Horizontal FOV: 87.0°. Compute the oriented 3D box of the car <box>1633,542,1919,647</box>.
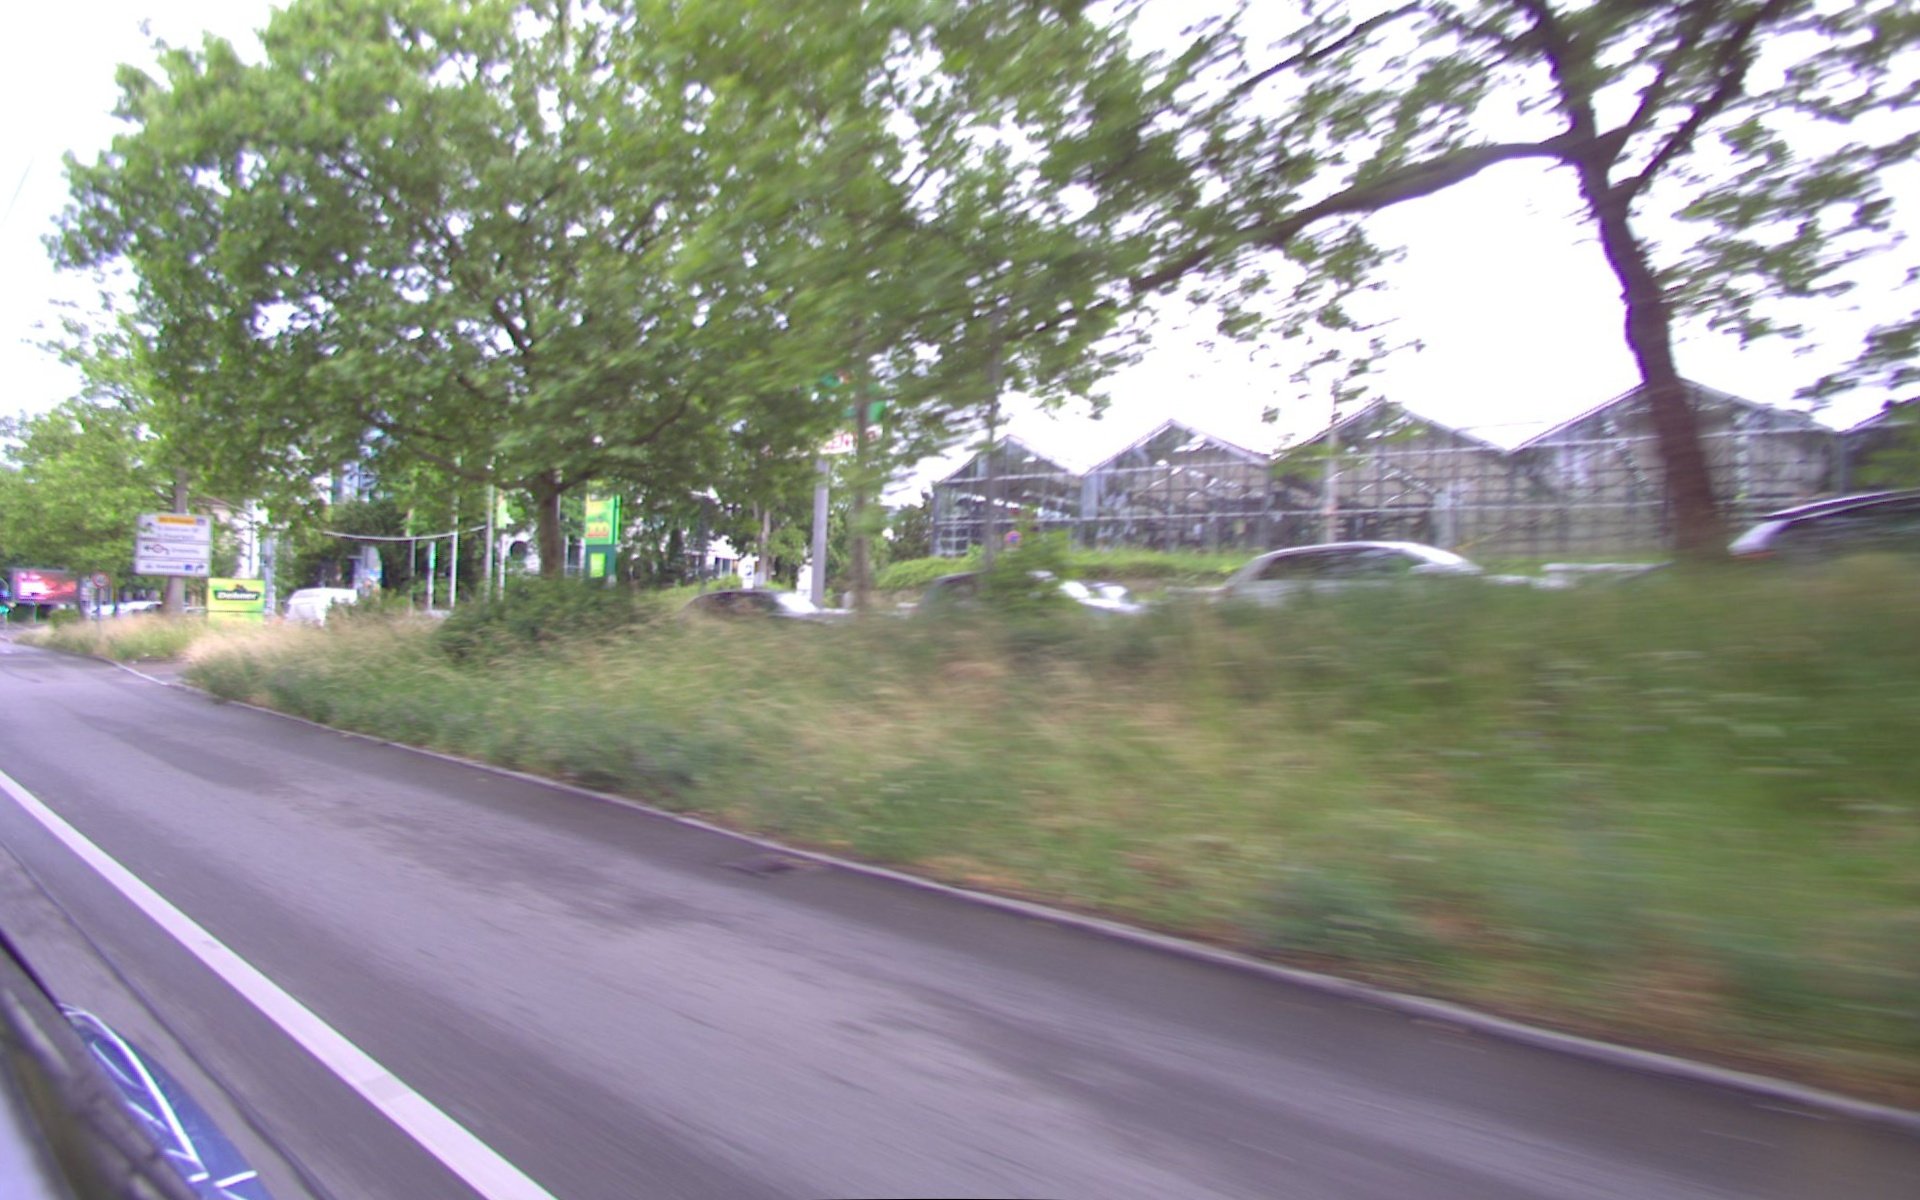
[{"bbox_3d":[11.425,-0.076,14.264,3.085,1.319,1.346,1,-1,41],"label":"car"}]

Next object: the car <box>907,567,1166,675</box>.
[{"bbox_3d":[1.077,0.268,14.962,3.441,1.415,1.686,1,-1,39],"label":"car"}]

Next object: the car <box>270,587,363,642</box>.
[{"bbox_3d":[-31.281,0.769,49.101,5.646,2.462,1.944,-2,-4,38],"label":"car"}]

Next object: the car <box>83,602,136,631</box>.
[{"bbox_3d":[-48.878,0.994,58.108,4.441,1.489,1.629,-3,-4,41],"label":"car"}]

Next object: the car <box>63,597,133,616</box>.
[{"bbox_3d":[-92.457,0.743,108.599,2.215,1.815,5.309,2,-1,34],"label":"car"}]

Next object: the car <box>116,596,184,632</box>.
[{"bbox_3d":[-36.196,0.616,45.200,3.643,1.463,1.636,1,-1,40],"label":"car"}]

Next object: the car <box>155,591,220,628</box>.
[{"bbox_3d":[-31.998,0.384,41.883,3.705,1.405,1.346,1,-1,40],"label":"car"}]

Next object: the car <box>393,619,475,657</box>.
[{"bbox_3d":[-21.639,1.541,41.570,4.276,1.328,1.387,1,-1,40],"label":"car"}]

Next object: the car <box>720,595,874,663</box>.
[{"bbox_3d":[-3.088,0.533,18.981,2.750,1.139,1.337,1,-1,39],"label":"car"}]

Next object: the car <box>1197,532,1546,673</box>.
[{"bbox_3d":[4.763,0.019,11.877,3.441,1.415,1.686,1,-1,39],"label":"car"}]
